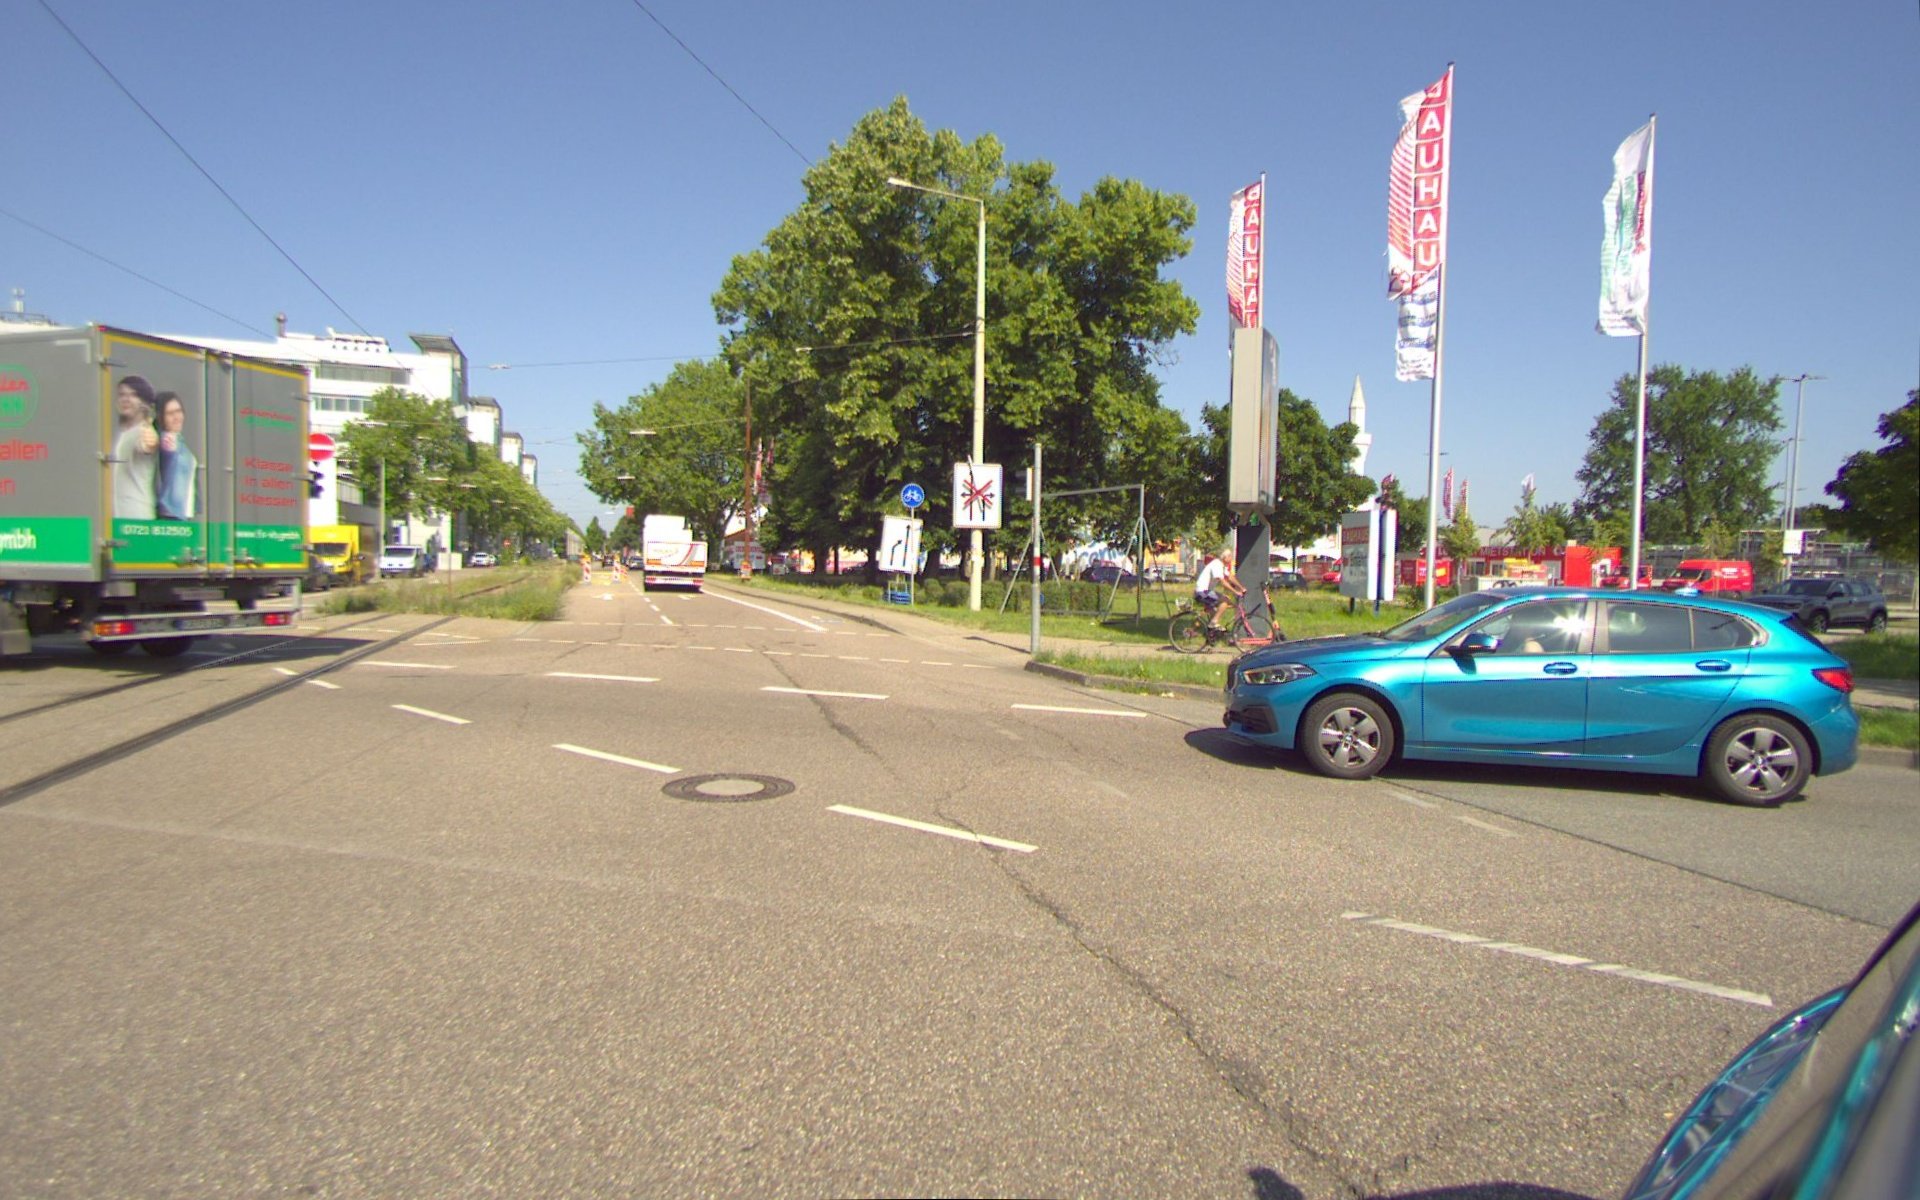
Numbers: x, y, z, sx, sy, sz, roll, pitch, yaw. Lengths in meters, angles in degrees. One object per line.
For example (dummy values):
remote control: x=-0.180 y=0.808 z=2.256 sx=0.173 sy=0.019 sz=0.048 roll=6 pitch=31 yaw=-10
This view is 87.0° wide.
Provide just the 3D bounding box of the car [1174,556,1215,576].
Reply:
car: x=25.004 y=-3.611 z=108.071 sx=3.918 sy=2.039 sz=2.003 roll=1 pitch=-1 yaw=-27

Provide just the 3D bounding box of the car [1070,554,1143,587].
car: x=8.905 y=-1.783 z=61.664 sx=3.917 sy=1.861 sz=2.003 roll=1 pitch=-1 yaw=-11

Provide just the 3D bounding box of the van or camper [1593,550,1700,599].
van or camper: x=44.363 y=-1.568 z=65.370 sx=7.134 sy=2.979 sz=2.004 roll=1 pitch=-1 yaw=-21

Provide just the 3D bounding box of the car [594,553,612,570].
car: x=-46.092 y=-4.913 z=130.679 sx=1.958 sy=2.039 sz=4.007 roll=1 pitch=-1 yaw=-22

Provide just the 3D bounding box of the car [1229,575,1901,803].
car: x=4.243 y=0.537 z=7.879 sx=4.068 sy=1.438 sz=1.866 roll=1 pitch=1 yaw=14

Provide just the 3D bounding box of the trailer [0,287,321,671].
trailer: x=-12.221 y=-1.285 z=12.713 sx=7.625 sy=3.925 sz=2.732 roll=0 pitch=1 yaw=16

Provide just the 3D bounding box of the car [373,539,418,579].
car: x=-34.428 y=-2.462 z=61.799 sx=1.958 sy=2.230 sz=4.007 roll=1 pitch=-1 yaw=-24

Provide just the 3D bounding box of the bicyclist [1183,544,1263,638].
bicyclist: x=4.370 y=-0.165 z=16.779 sx=1.221 sy=1.495 sz=0.754 roll=1 pitch=2 yaw=19

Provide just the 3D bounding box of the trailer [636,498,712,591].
trailer: x=-13.671 y=-2.538 z=47.661 sx=2.757 sy=3.819 sz=11.879 roll=0 pitch=2 yaw=-19

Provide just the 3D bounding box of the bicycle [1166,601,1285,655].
bicycle: x=4.413 y=0.450 z=16.850 sx=1.885 sy=0.804 sz=0.531 roll=1 pitch=2 yaw=18

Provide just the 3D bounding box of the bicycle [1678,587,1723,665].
bicycle: x=12.103 y=0.393 z=16.570 sx=0.492 sy=1.153 sz=1.886 roll=0 pitch=2 yaw=33

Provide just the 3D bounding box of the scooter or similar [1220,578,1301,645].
scooter or similar: x=5.399 y=0.201 z=18.253 sx=1.353 sy=1.162 sz=0.434 roll=1 pitch=2 yaw=14

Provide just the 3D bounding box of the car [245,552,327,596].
car: x=-26.153 y=-0.975 z=39.401 sx=1.958 sy=1.572 sz=4.007 roll=1 pitch=0 yaw=-24

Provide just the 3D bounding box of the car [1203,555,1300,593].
car: x=13.901 y=-1.223 z=48.362 sx=3.917 sy=1.705 sz=2.003 roll=1 pitch=-1 yaw=-11

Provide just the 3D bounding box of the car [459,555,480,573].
car: x=-60.271 y=-4.376 z=124.443 sx=1.958 sy=2.039 sz=4.008 roll=1 pitch=-1 yaw=-21

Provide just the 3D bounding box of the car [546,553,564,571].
car: x=-48.525 y=-4.539 z=121.160 sx=1.958 sy=2.039 sz=4.007 roll=1 pitch=-1 yaw=-23

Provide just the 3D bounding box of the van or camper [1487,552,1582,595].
van or camper: x=42.306 y=-1.917 z=74.497 sx=7.134 sy=2.979 sz=2.004 roll=1 pitch=-1 yaw=-21

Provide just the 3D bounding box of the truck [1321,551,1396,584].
truck: x=31.571 y=-2.539 z=80.132 sx=5.660 sy=2.443 sz=2.004 roll=1 pitch=-1 yaw=-20

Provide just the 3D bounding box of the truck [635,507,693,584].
truck: x=-15.975 y=-2.867 z=54.431 sx=2.740 sy=3.874 sz=5.117 roll=1 pitch=2 yaw=-18

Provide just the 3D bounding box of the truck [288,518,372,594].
truck: x=-29.221 y=-1.932 z=47.195 sx=2.251 sy=3.175 sz=6.973 roll=1 pitch=-1 yaw=-23

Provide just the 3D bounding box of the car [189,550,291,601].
car: x=-23.856 y=-0.754 z=33.694 sx=1.958 sy=1.572 sz=4.007 roll=1 pitch=0 yaw=-24

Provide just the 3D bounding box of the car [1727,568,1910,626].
car: x=22.611 y=-0.068 z=26.698 sx=3.915 sy=1.438 sz=1.910 roll=1 pitch=-1 yaw=-18

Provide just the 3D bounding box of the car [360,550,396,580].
car: x=-42.137 y=-2.502 z=73.339 sx=1.959 sy=2.039 sz=4.006 roll=1 pitch=-1 yaw=-26

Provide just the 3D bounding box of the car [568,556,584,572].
car: x=-55.218 y=-5.167 z=145.504 sx=1.958 sy=2.039 sz=4.007 roll=1 pitch=-1 yaw=-23
